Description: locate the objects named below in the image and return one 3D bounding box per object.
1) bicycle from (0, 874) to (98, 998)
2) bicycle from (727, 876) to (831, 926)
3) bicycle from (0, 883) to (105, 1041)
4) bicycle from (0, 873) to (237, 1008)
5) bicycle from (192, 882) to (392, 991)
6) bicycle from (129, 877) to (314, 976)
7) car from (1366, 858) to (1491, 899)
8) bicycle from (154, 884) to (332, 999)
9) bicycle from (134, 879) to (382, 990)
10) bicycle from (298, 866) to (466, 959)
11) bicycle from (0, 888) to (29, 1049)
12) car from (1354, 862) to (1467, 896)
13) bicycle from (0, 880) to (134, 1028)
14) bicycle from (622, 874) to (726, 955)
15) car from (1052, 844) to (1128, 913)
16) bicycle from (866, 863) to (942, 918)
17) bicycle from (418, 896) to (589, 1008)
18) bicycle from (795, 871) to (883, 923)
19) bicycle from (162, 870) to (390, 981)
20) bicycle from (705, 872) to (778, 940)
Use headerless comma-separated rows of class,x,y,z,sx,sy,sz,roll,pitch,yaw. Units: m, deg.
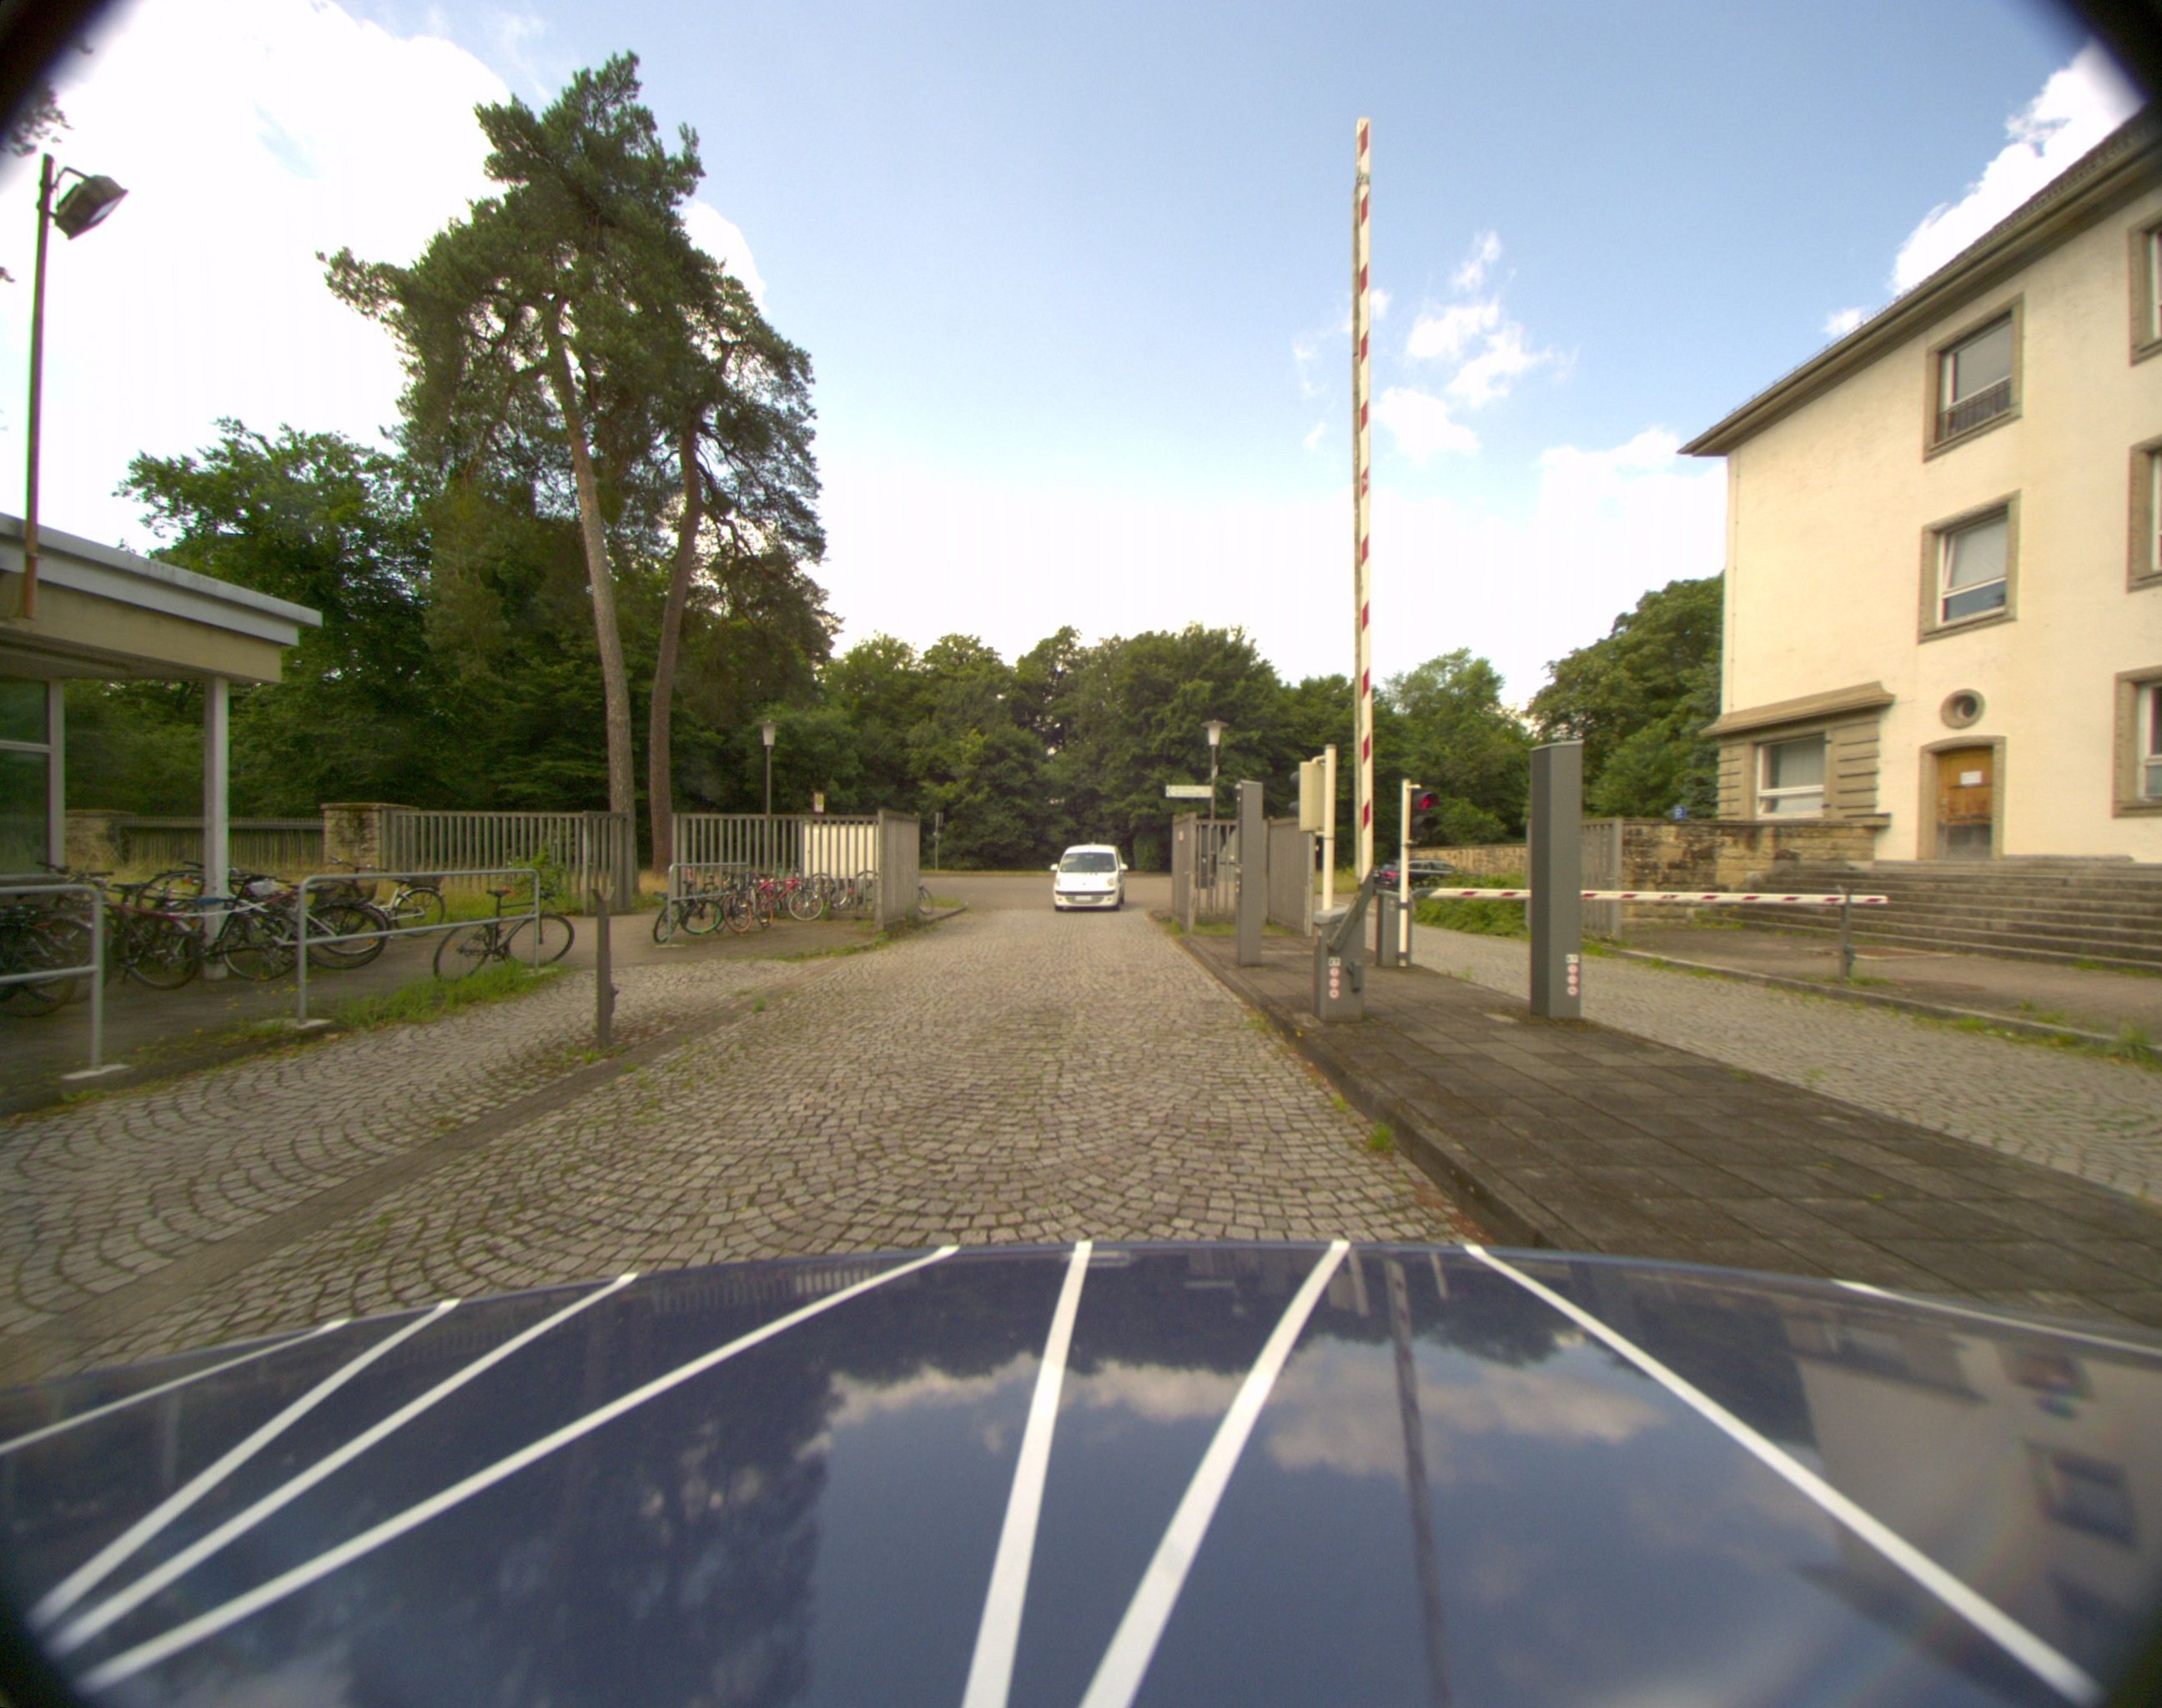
bicycle,-9.874,0.739,6.526,0.491,1.069,1.832,2,0,-1
bicycle,-6.117,0.951,15.457,1.868,0.934,0.503,2,1,-5
bicycle,-8.430,0.786,5.673,1.618,1.134,0.325,2,1,-8
bicycle,-8.715,0.776,6.848,1.618,1.134,0.356,2,1,-8
bicycle,-8.151,0.828,7.908,1.408,1.040,0.338,0,1,-27
bicycle,-9.873,0.795,8.784,0.404,1.004,1.359,1,1,23
car,13.202,0.907,29.072,3.995,1.508,1.803,0,0,6
bicycle,-8.144,0.832,7.422,1.155,1.056,0.286,0,1,-21
bicycle,-8.735,0.817,8.173,1.754,1.040,0.453,0,1,-39
bicycle,-9.531,0.750,10.457,0.648,1.132,1.681,1,1,6
bicycle,-8.484,0.791,5.287,1.618,1.134,0.325,2,1,-8
car,13.719,1.018,31.850,3.995,1.338,1.803,0,0,6
bicycle,-8.758,0.785,6.110,1.618,1.134,0.356,2,1,-8
bicycle,-5.973,0.853,11.260,0.692,1.056,1.565,1,1,0
car,0.366,0.611,21.723,1.866,1.749,4.150,1,0,4
bicycle,-4.173,0.854,18.047,1.655,1.223,0.748,2,1,-8
bicycle,-6.021,0.977,8.044,0.535,0.947,1.655,1,1,0
bicycle,-5.156,0.918,16.238,1.730,1.027,0.387,2,1,1
bicycle,-9.057,0.758,8.652,1.744,1.125,0.473,0,1,-44
bicycle,-5.836,0.862,13.155,0.474,1.051,1.732,1,0,0
